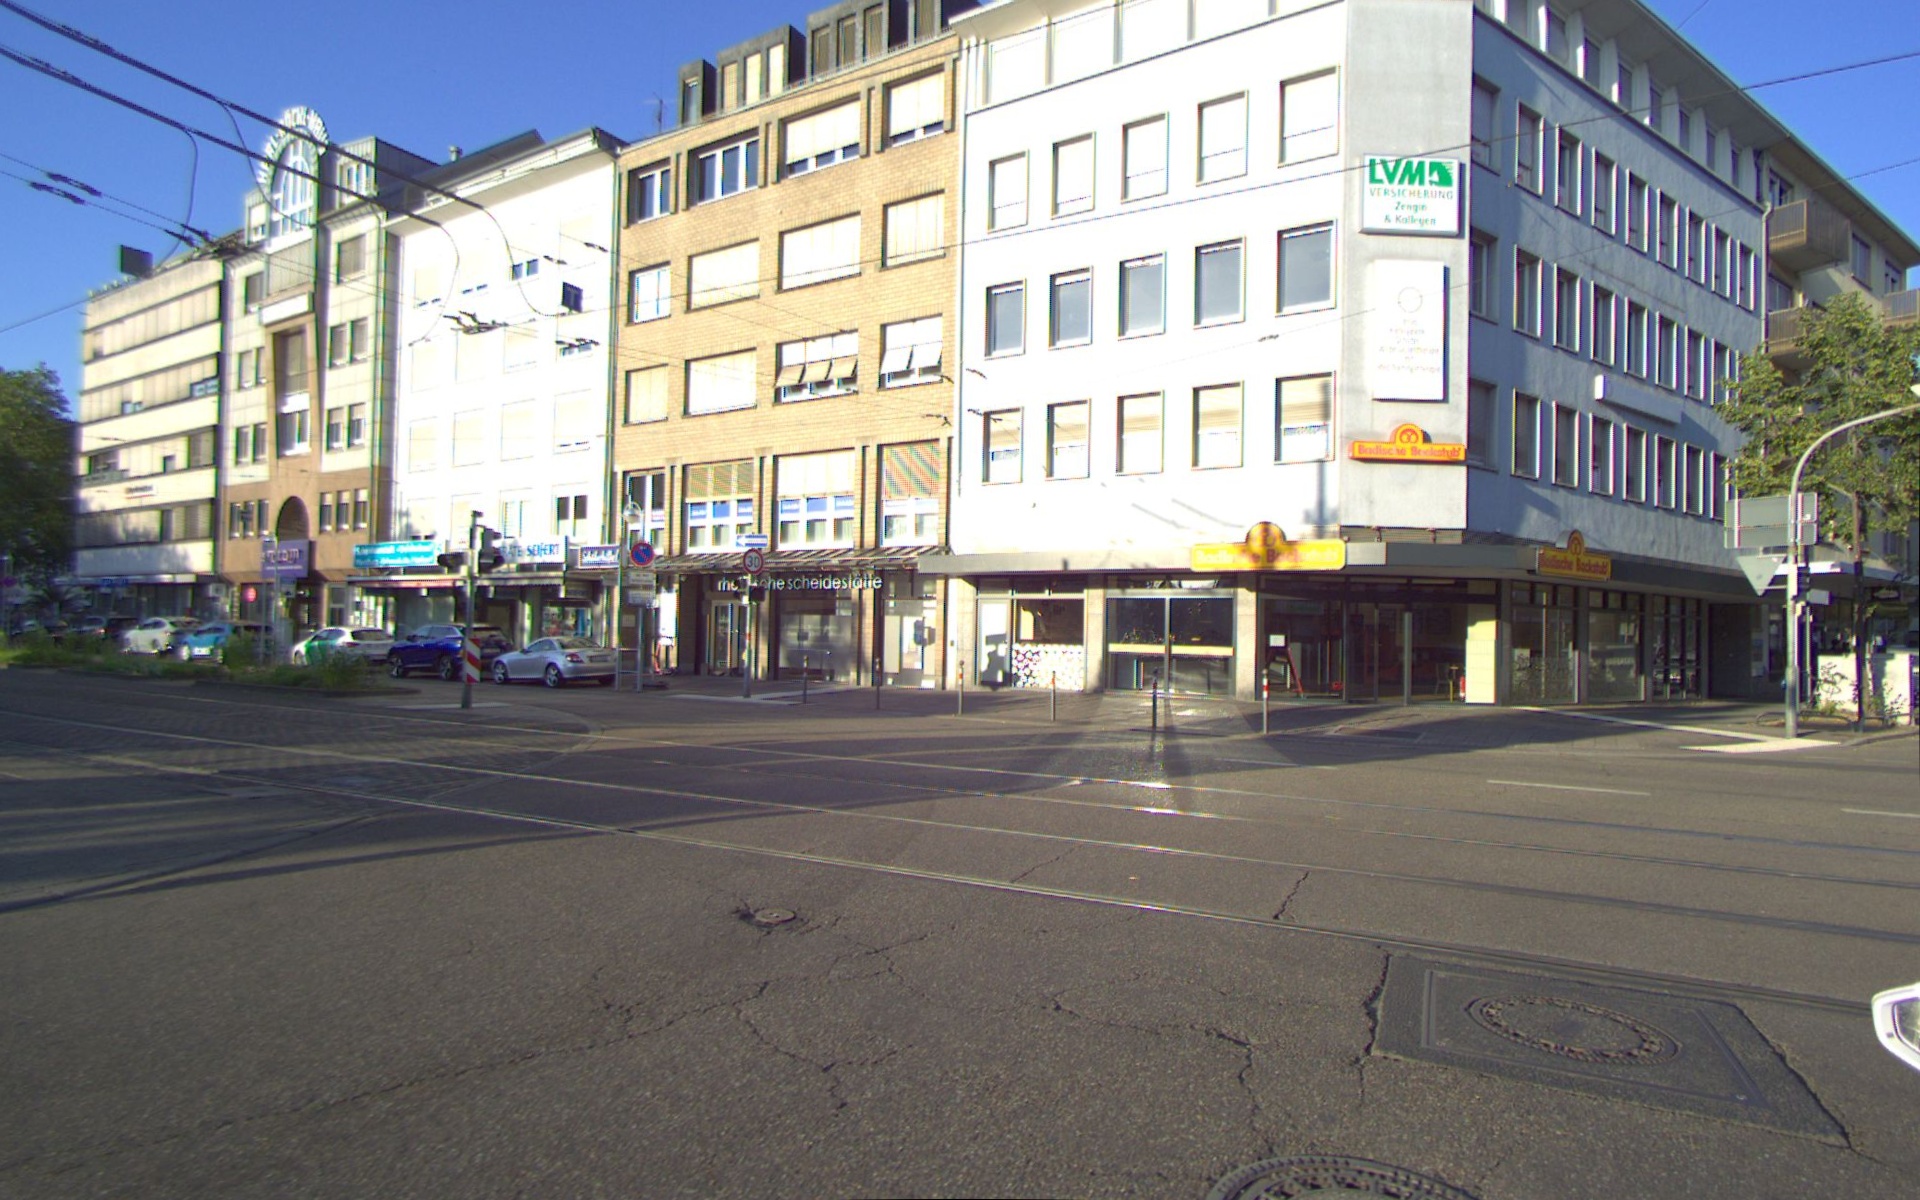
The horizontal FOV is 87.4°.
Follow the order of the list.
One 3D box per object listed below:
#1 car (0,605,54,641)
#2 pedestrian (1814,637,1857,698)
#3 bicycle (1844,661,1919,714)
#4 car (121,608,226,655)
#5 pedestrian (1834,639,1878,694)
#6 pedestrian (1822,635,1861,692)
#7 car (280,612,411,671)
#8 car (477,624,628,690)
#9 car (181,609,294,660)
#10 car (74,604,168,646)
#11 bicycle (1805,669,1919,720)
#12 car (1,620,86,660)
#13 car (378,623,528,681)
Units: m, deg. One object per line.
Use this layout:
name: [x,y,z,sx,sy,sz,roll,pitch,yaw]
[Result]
car: [-47.571,1.146,50.528,4.533,1.759,2.042,0,-1,35]
pedestrian: [27.578,2.103,31.645,0.733,1.872,0.765,0,-1,-24]
bicycle: [23.492,2.195,25.131,0.486,1.235,1.997,3,-1,-33]
car: [-31.114,1.211,39.704,4.533,1.759,2.042,0,-1,35]
pedestrian: [28.498,2.106,31.947,0.728,1.698,0.771,1,-1,8]
pedestrian: [28.813,2.067,32.841,0.804,1.843,0.737,1,-2,-32]
car: [-20.138,1.305,32.880,4.533,1.759,2.042,0,-1,35]
car: [-10.927,1.456,26.834,4.232,1.596,1.793,0,-1,37]
car: [-26.665,1.240,37.034,4.533,1.759,2.042,0,-1,35]
car: [-36.731,1.054,43.933,4.533,1.759,2.042,0,-1,35]
bicycle: [20.720,2.147,23.016,0.487,1.005,1.994,3,-1,-37]
car: [-43.101,1.840,47.223,4.533,1.759,2.042,0,-1,35]
car: [-14.811,1.456,29.269,4.534,1.495,2.042,0,-1,36]
